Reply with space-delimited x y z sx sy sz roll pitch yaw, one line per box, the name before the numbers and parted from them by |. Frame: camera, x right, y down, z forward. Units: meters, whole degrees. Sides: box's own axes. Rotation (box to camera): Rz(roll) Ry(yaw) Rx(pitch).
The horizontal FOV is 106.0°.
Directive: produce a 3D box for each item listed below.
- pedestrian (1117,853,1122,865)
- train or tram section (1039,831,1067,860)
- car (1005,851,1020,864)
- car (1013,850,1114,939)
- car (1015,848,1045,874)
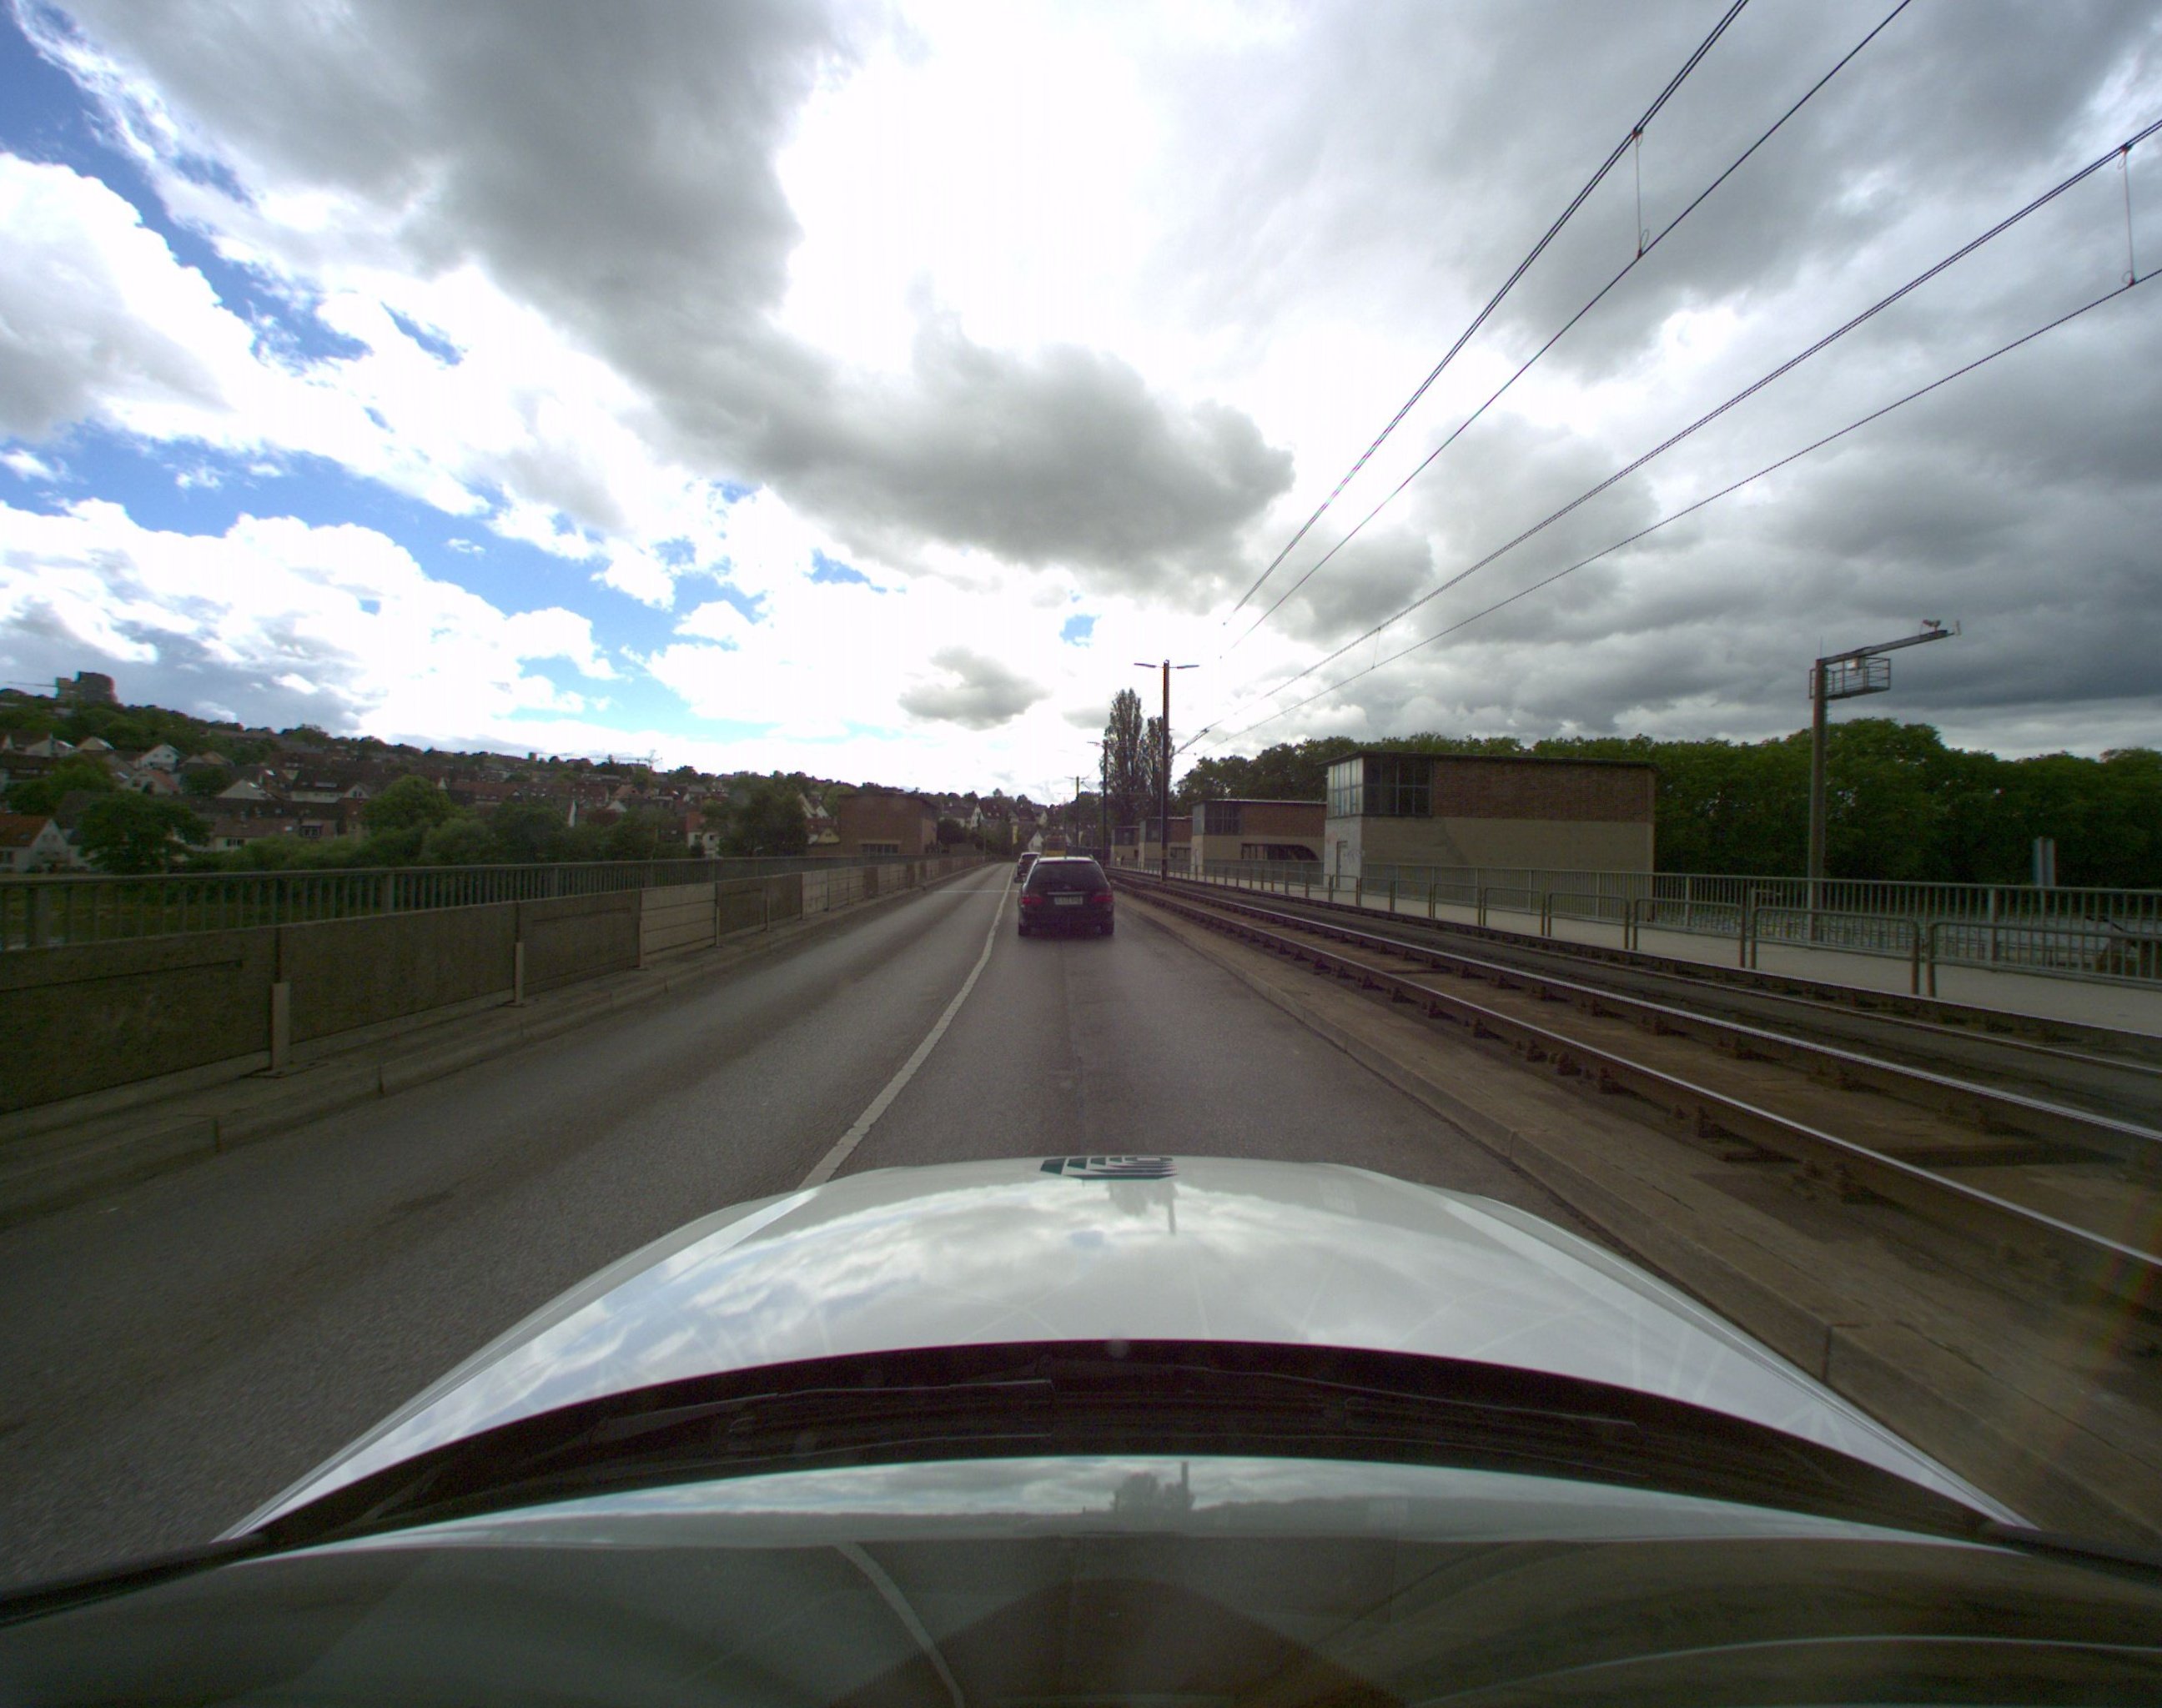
pedestrian | 4.839 0.621 103.183 0.576 1.609 0.612 1 0 -4
train or tram section | -3.920 -1.114 109.634 2.878 3.509 18.634 -1 0 -5
car | -9.458 0.485 112.378 1.990 1.570 4.897 1 1 -5
car | -0.408 0.693 16.440 1.755 1.515 4.438 0 0 -3
car | -3.345 0.416 52.905 1.768 1.555 4.231 1 1 -7
